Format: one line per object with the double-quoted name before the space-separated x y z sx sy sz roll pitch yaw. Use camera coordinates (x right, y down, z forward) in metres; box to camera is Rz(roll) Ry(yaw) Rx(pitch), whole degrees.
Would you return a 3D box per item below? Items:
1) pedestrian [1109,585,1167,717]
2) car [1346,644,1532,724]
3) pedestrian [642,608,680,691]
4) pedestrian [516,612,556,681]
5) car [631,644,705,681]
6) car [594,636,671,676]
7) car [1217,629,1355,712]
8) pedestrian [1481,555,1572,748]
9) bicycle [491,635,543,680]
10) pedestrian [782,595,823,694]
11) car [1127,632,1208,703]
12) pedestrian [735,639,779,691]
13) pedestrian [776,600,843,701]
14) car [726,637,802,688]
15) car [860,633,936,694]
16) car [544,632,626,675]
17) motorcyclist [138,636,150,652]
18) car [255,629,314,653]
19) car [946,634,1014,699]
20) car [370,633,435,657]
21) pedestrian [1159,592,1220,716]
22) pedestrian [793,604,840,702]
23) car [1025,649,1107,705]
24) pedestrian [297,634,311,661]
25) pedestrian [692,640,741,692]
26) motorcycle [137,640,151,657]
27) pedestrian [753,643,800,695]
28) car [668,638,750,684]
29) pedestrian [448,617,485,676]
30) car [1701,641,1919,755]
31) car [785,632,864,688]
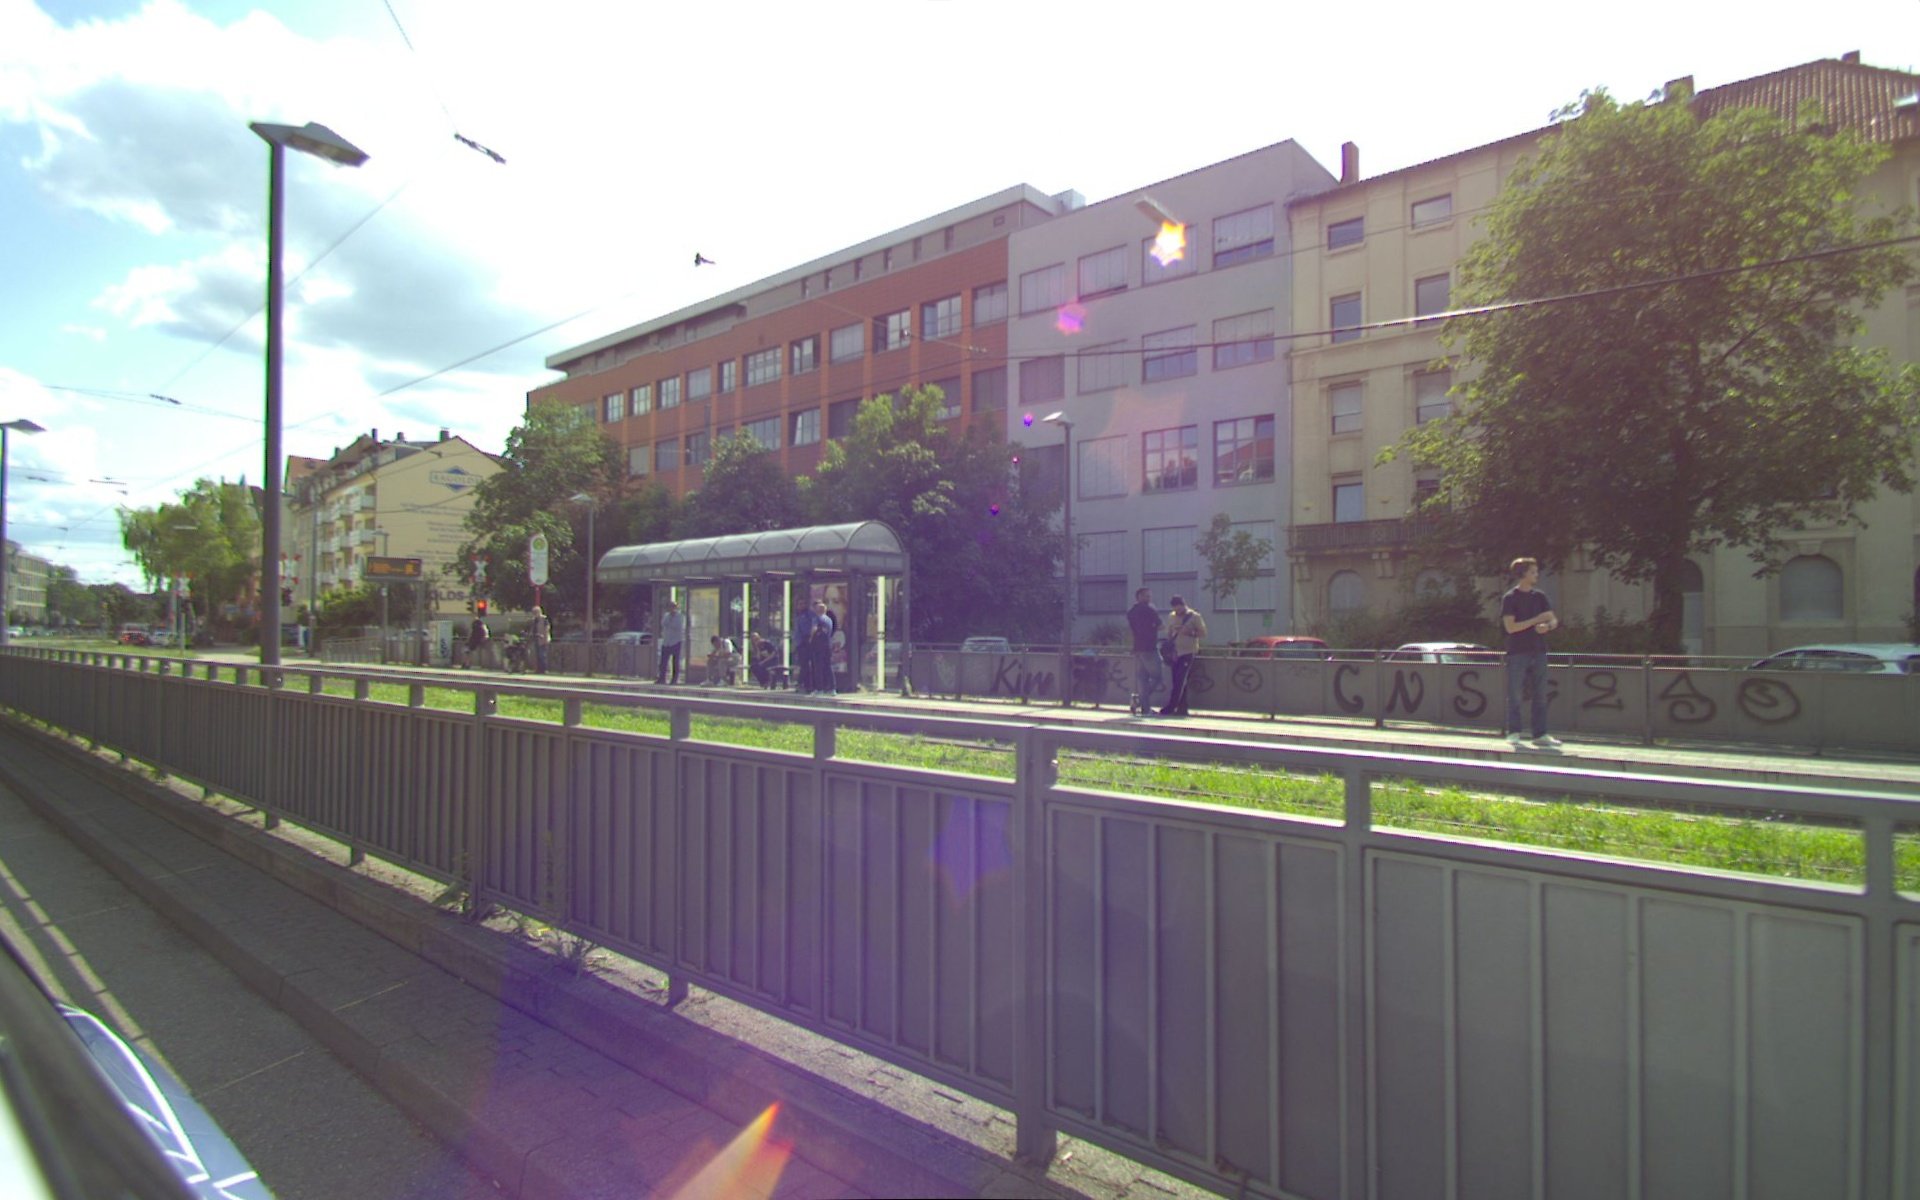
"pedestrian" 2.445 0.697 13.917 0.599 1.767 0.626 1 -2 -9
"car" 9.448 1.610 20.354 1.791 1.402 4.022 -1 -2 0
"pedestrian" -6.374 1.048 21.575 0.623 1.739 0.481 -1 -2 38
"pedestrian" -11.017 1.198 26.295 0.798 1.737 0.632 -1 -3 38
"car" -10.847 2.314 37.853 1.584 1.314 3.247 0 -2 5
"car" -13.112 2.224 40.748 1.629 1.508 3.995 0 -2 4
"car" 7.147 1.513 22.629 1.810 1.652 4.134 1 -2 1
"pedestrian" 5.882 0.510 10.501 0.639 1.906 0.742 1 -1 43
"bicycle" -11.429 1.473 26.073 0.653 1.122 1.880 4 -4 -40
"pedestrian" -2.970 0.830 19.096 0.623 1.841 0.438 -1 -3 38
"car" 4.945 1.566 24.505 1.590 1.580 3.991 -1 -2 7
"pedestrian" -4.112 1.315 20.525 0.562 1.039 0.647 -1 -4 38
"pedestrian" -2.705 0.900 18.184 1.035 1.756 0.626 -1 -3 38
"car" -6.384 2.015 33.270 1.651 1.420 3.063 1 0 5
"car" -1.767 1.820 30.008 1.651 1.540 3.994 -1 0 5
"car" -15.327 2.169 41.535 1.850 1.671 3.840 0 -2 2
"motorcyclist" -69.945 3.742 86.747 0.693 1.368 0.654 -1 -1 43
"car" -60.124 3.635 90.087 4.195 2.029 2.003 2 -3 -40
"car" 0.616 1.790 28.220 1.651 1.540 3.995 -1 0 4
"car" -37.790 3.054 68.606 3.557 1.491 1.777 2 -6 -42
"pedestrian" 3.235 0.747 14.254 0.624 1.687 0.600 -1 -2 41
"pedestrian" -2.468 0.914 17.403 0.556 1.645 0.593 -2 -3 27
"car" 2.884 1.992 26.846 1.774 1.159 3.986 -1 0 11
"pedestrian" -42.631 3.081 65.795 0.481 1.723 0.641 -2 -3 42
"pedestrian" -5.001 1.345 20.765 0.623 1.039 0.712 -1 -4 38
"motorcycle" -69.921 4.153 86.701 2.010 1.414 0.626 -1 -1 44
"pedestrian" -3.631 1.366 20.061 0.562 1.002 0.697 -1 -4 38
"car" -8.759 2.097 35.573 1.568 1.431 3.301 -1 0 11
"pedestrian" -14.550 1.366 29.863 0.798 1.712 0.659 -1 -3 38
"car" 14.256 1.454 16.066 1.900 1.576 4.152 1 -2 0
"car" -4.250 1.881 32.391 1.651 1.652 3.994 1 -2 5
